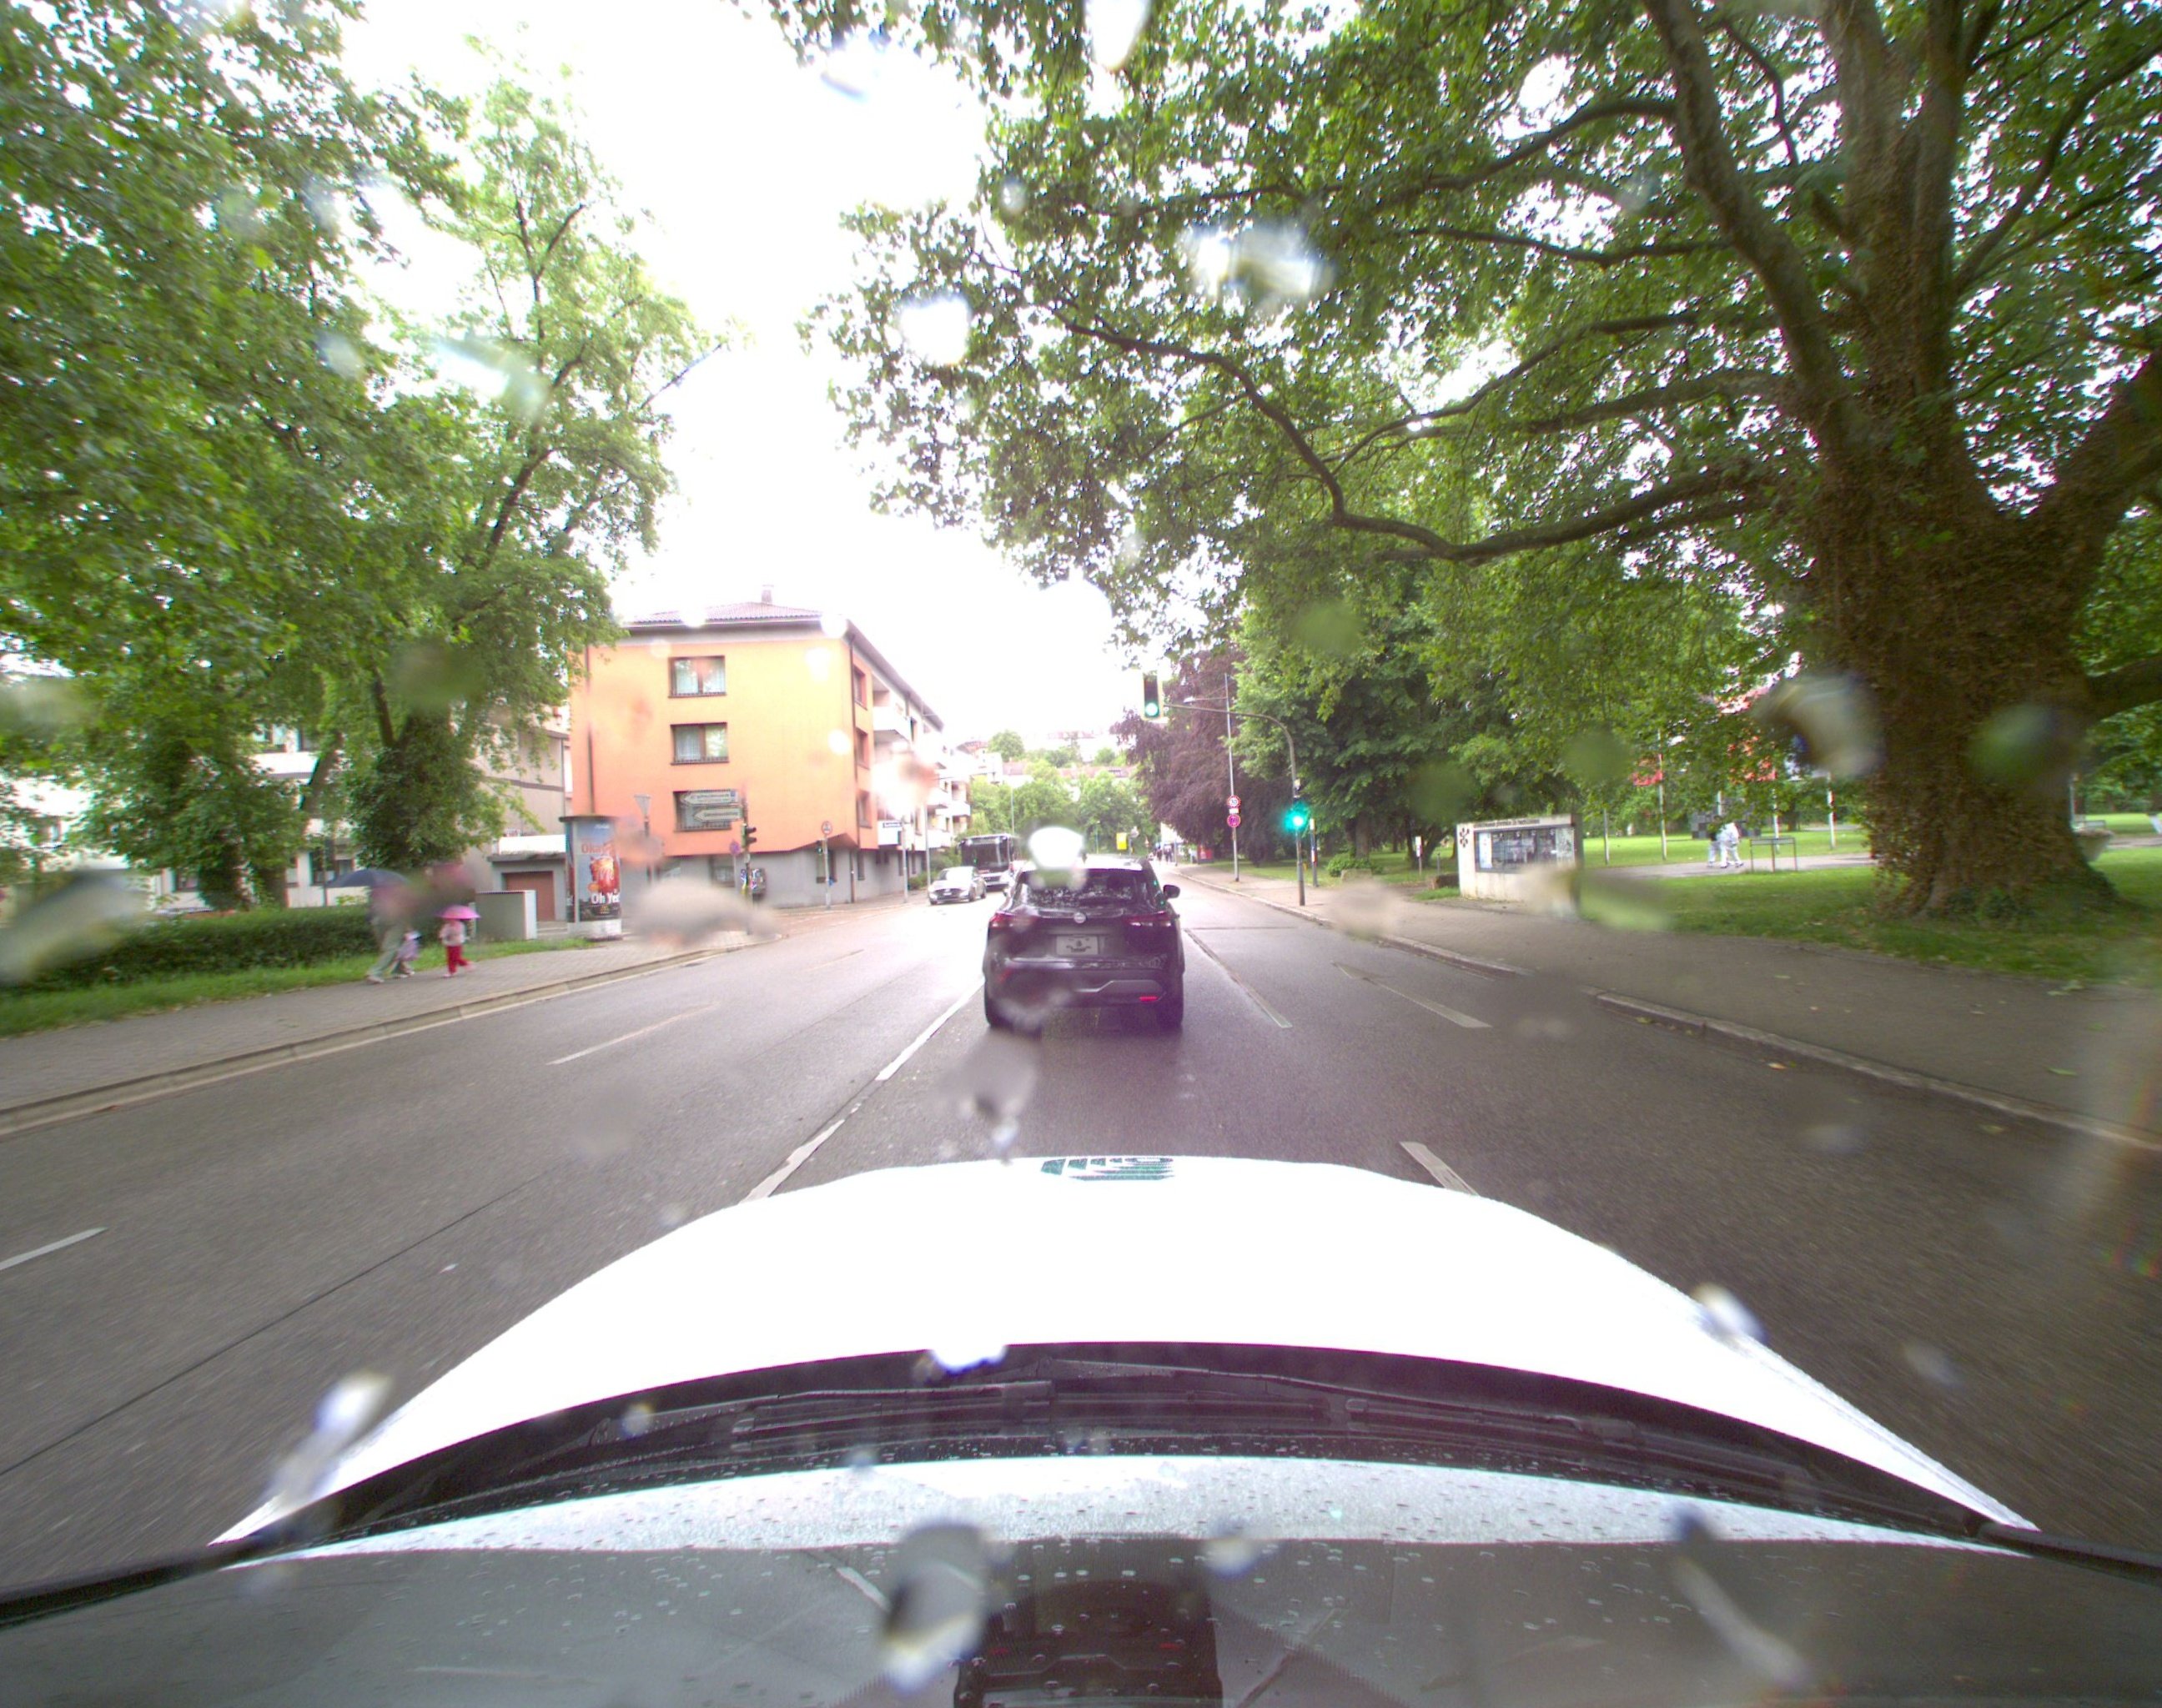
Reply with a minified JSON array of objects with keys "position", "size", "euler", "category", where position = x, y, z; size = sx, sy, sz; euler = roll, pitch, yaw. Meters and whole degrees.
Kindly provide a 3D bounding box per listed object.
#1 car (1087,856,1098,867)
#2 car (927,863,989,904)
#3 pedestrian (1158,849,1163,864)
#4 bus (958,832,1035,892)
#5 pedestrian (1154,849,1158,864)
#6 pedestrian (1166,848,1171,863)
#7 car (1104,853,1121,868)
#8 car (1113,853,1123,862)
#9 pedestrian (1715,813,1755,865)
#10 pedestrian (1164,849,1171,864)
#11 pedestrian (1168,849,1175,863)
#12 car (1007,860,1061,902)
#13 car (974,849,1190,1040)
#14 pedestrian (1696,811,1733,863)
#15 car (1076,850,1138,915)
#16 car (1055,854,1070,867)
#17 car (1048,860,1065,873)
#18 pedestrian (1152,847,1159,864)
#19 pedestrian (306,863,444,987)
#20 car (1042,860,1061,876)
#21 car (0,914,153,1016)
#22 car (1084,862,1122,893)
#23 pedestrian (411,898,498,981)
[{"position":[2.005,1.279,144.711],"size":[1.757,1.758,3.636],"euler":[-3,0,2],"category":"car"},{"position":[-5.064,1.190,33.967],"size":[1.802,1.417,4.031],"euler":[-4,0,1],"category":"car"},{"position":[9.200,0.294,93.792],"size":[0.542,1.651,0.490],"euler":[0,-1,2],"category":"pedestrian"},{"position":[-4.715,0.458,48.097],"size":[2.756,2.974,11.785],"euler":[-3,-1,2],"category":"bus"},{"position":[8.603,0.297,93.687],"size":[0.473,1.651,0.490],"euler":[0,-1,2],"category":"pedestrian"},{"position":[9.887,0.144,91.798],"size":[0.513,1.655,0.550],"euler":[0,-1,1],"category":"pedestrian"},{"position":[3.204,0.629,83.065],"size":[1.618,1.415,3.456],"euler":[-3,0,2],"category":"car"},{"position":[7.214,0.664,159.291],"size":[1.743,1.633,3.636],"euler":[-3,0,2],"category":"car"},{"position":[21.608,-0.482,26.912],"size":[0.663,1.712,0.788],"euler":[0,-1,-7],"category":"pedestrian"},{"position":[9.989,0.290,93.947],"size":[0.696,1.651,0.628],"euler":[0,-1,2],"category":"pedestrian"},{"position":[11.220,0.251,100.793],"size":[0.616,1.779,0.778],"euler":[-3,0,1],"category":"pedestrian"},{"position":[-1.751,0.983,31.313],"size":[1.618,1.415,3.456],"euler":[-3,0,2],"category":"car"},{"position":[0.072,0.782,8.803],"size":[1.799,1.590,4.001],"euler":[0,-1,2],"category":"car"},{"position":[21.702,-0.565,27.896],"size":[0.663,1.756,0.722],"euler":[0,-1,-7],"category":"pedestrian"},{"position":[0.825,0.786,24.230],"size":[1.615,1.709,3.774],"euler":[-4,0,3],"category":"car"},{"position":[-2.437,0.810,107.241],"size":[1.743,1.633,3.636],"euler":[-3,0,2],"category":"car"},{"position":[-2.819,1.427,94.775],"size":[1.671,1.296,3.752],"euler":[-4,0,1],"category":"car"},{"position":[9.562,0.156,104.520],"size":[0.764,2.184,0.712],"euler":[-1,-1,5],"category":"pedestrian"},{"position":[-10.493,1.009,12.160],"size":[0.988,1.742,1.210],"euler":[-1,0,1],"category":"pedestrian"},{"position":[-3.010,1.431,83.683],"size":[1.671,1.469,4.217],"euler":[-4,0,1],"category":"car"},{"position":[-18.004,1.819,13.607],"size":[3.182,1.524,1.507],"euler":[0,-1,-1],"category":"car"},{"position":[1.077,1.135,40.993],"size":[1.802,1.417,4.031],"euler":[-2,0,1],"category":"car"},{"position":[-9.600,1.295,12.508],"size":[0.681,1.175,0.827],"euler":[-1,0,1],"category":"pedestrian"}]
